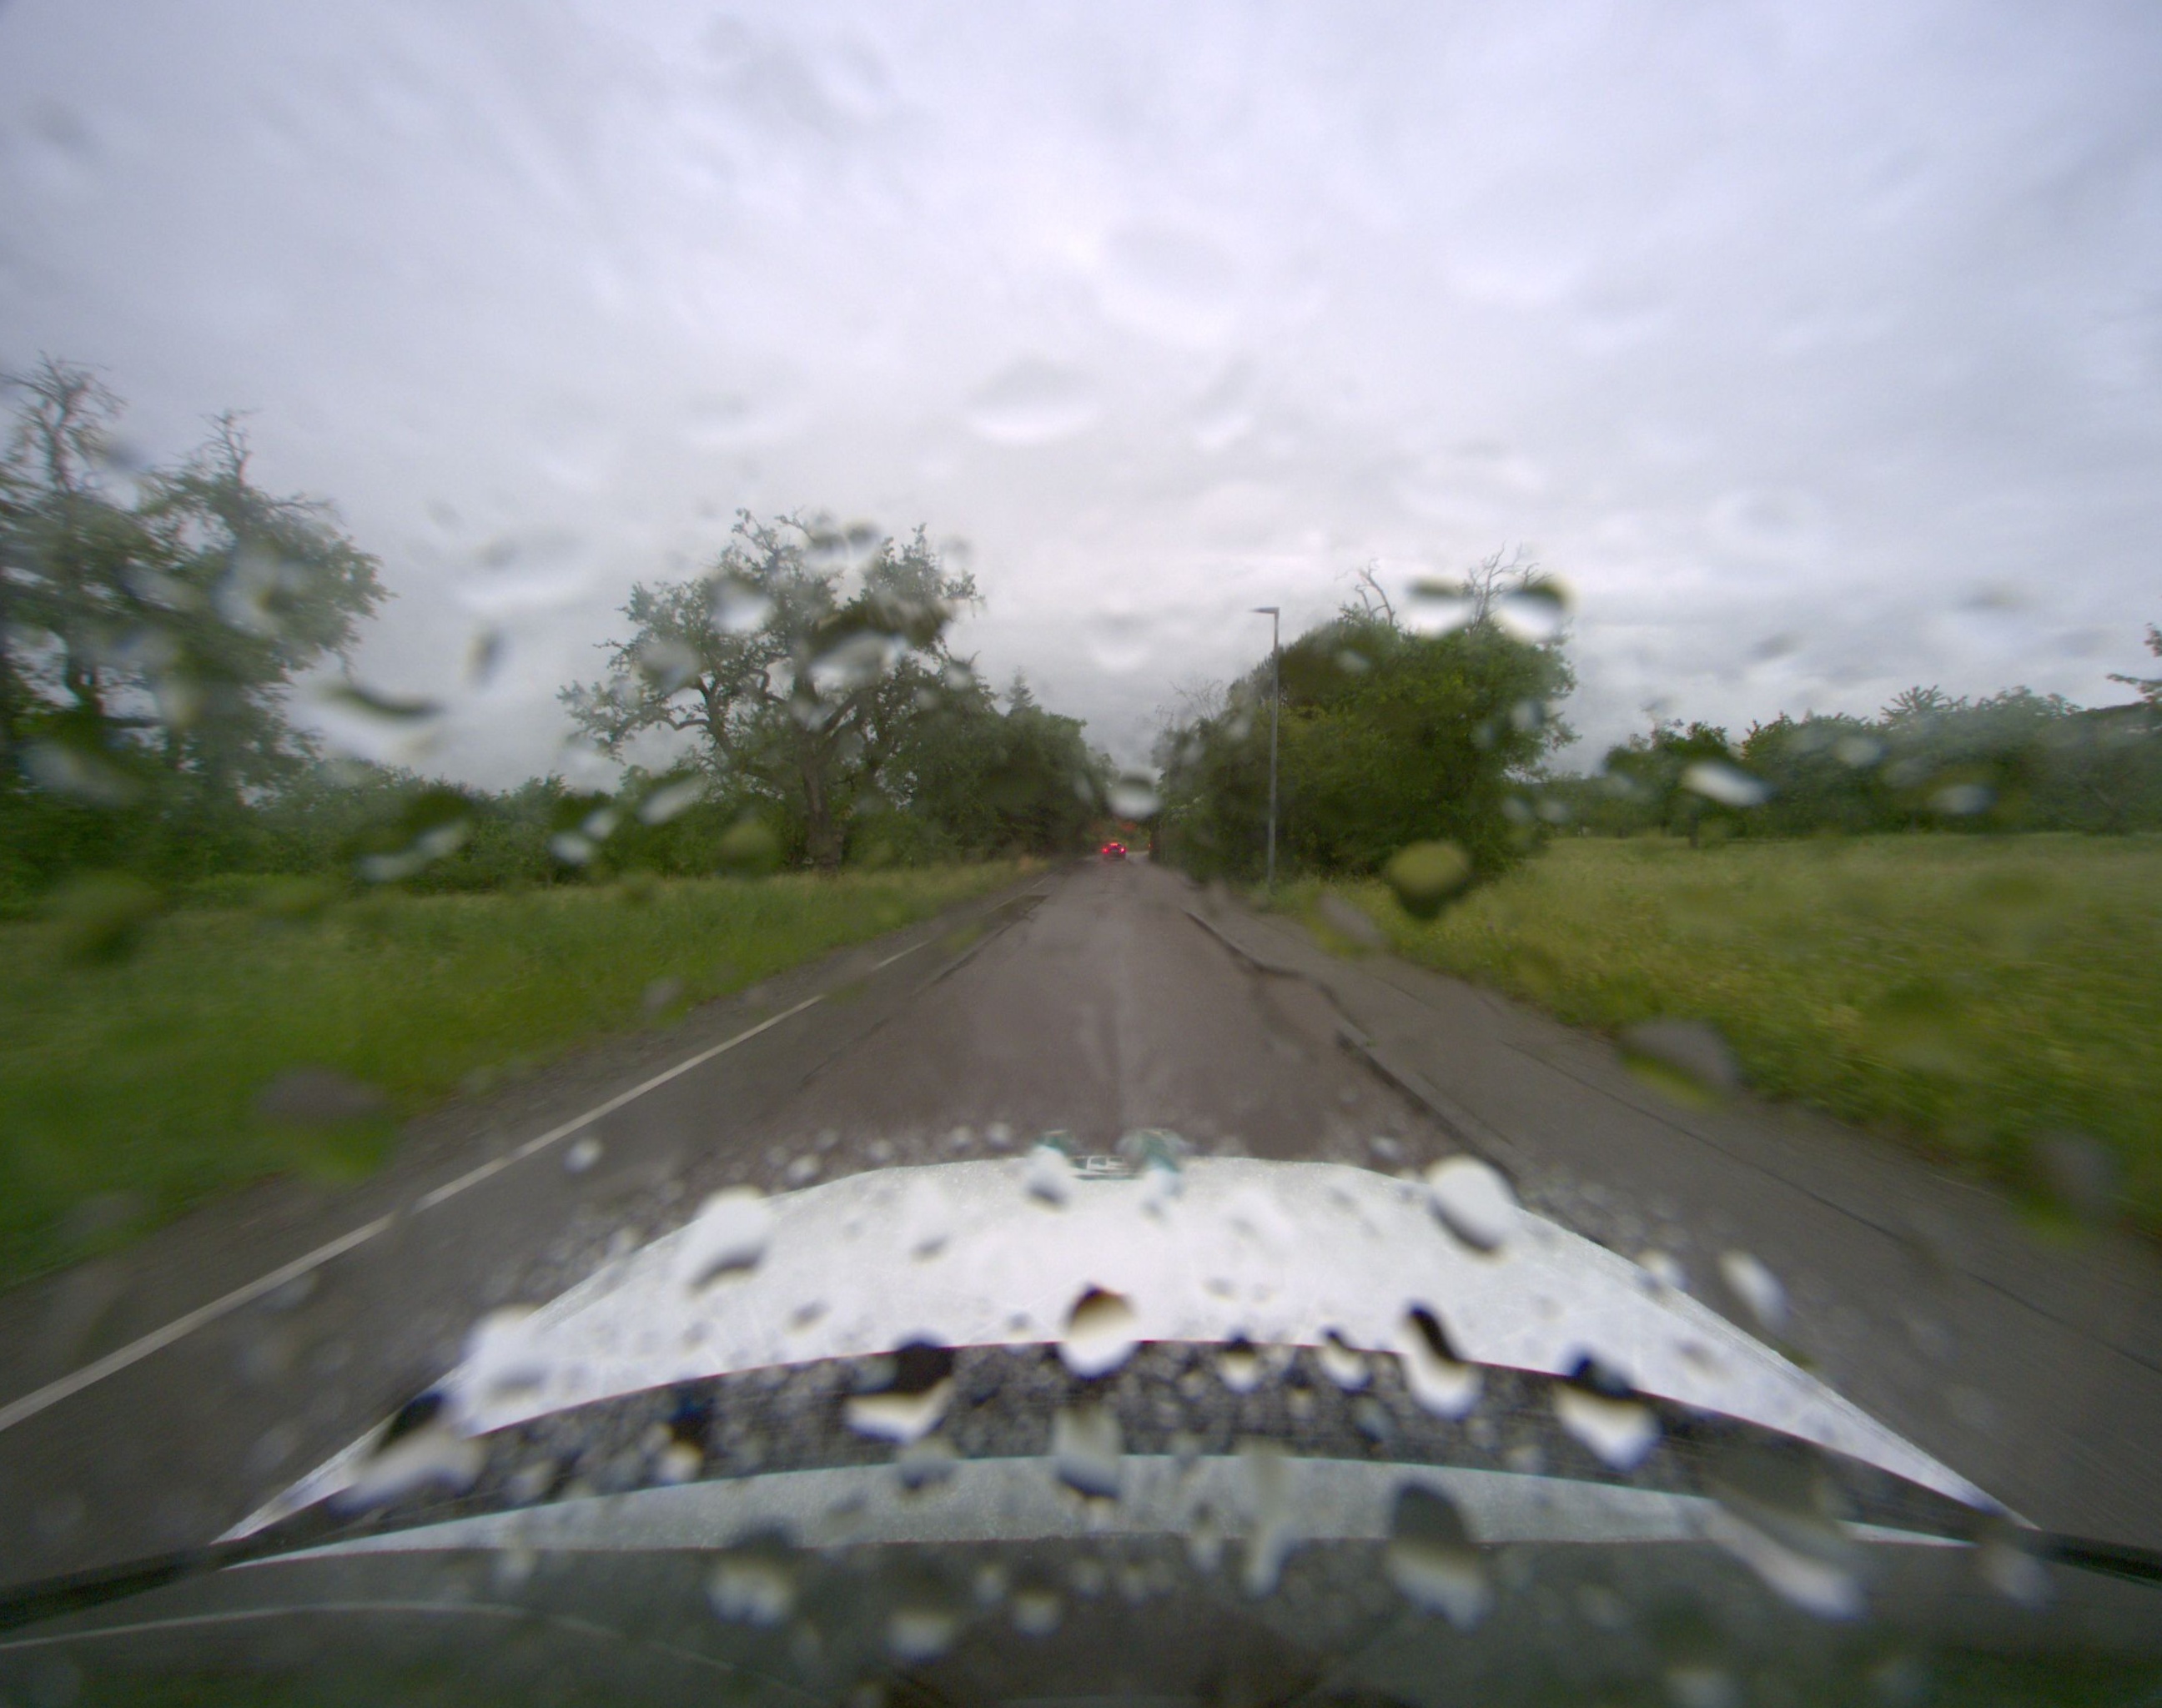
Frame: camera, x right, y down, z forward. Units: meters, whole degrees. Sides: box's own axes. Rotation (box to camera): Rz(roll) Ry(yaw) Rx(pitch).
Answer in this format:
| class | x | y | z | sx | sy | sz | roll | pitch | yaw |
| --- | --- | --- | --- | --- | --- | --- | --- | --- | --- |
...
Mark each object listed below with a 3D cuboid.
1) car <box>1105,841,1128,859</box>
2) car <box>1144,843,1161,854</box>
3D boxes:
| class | x | y | z | sx | sy | sz | roll | pitch | yaw |
| --- | --- | --- | --- | --- | --- | --- | --- | --- | --- |
| car | 2.978 | -0.298 | 68.311 | 1.626 | 1.450 | 3.552 | 0 | 0 | 8 |
| car | 9.738 | -0.772 | 111.142 | 1.622 | 1.414 | 3.559 | 0 | 0 | 16 |
